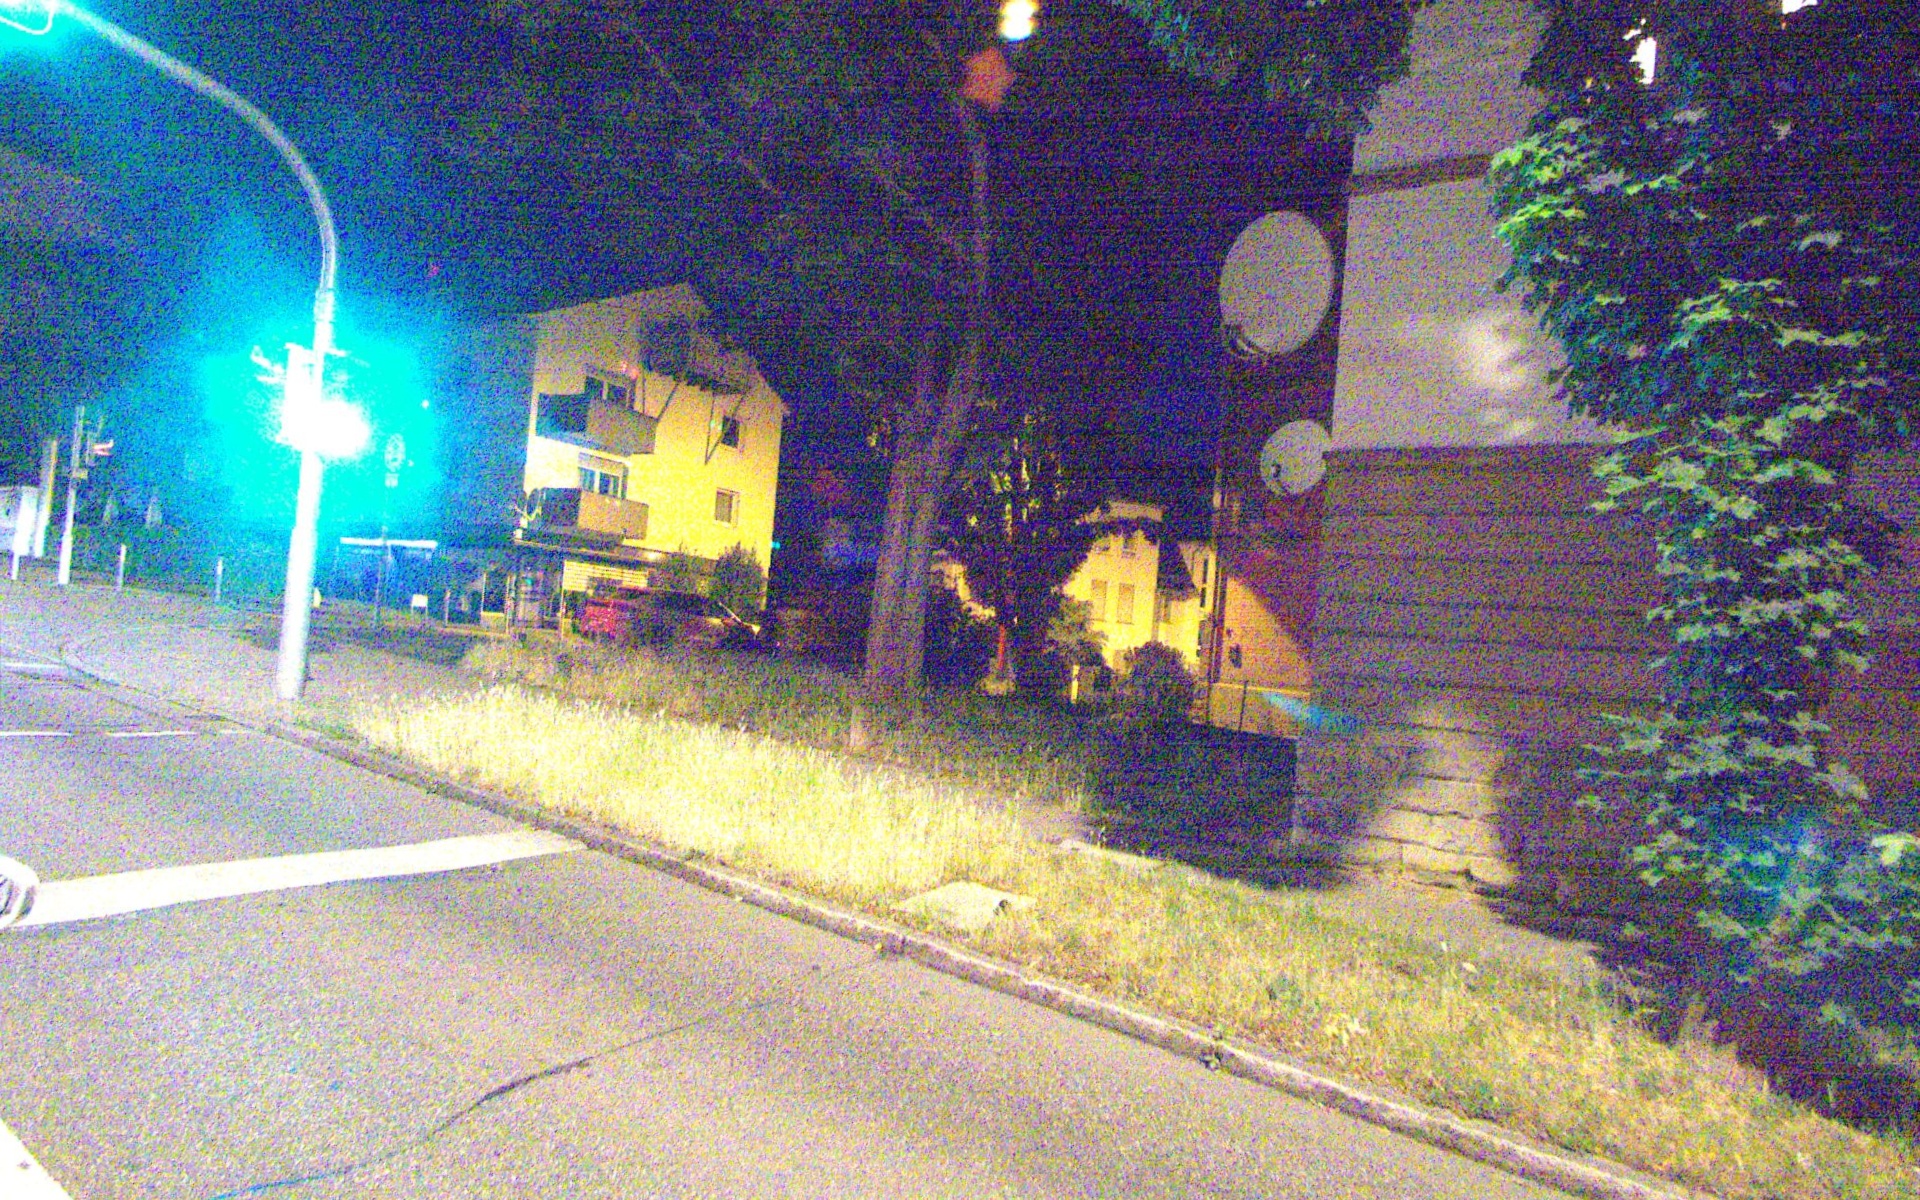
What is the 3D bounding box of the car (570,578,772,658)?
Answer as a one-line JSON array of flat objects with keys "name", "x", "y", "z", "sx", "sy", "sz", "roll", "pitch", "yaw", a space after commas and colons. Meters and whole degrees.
[{"name": "car", "x": -6.545, "y": 0.458, "z": 23.171, "sx": 1.740, "sy": 1.295, "sz": 4.131, "roll": 6, "pitch": -3, "yaw": 39}]
